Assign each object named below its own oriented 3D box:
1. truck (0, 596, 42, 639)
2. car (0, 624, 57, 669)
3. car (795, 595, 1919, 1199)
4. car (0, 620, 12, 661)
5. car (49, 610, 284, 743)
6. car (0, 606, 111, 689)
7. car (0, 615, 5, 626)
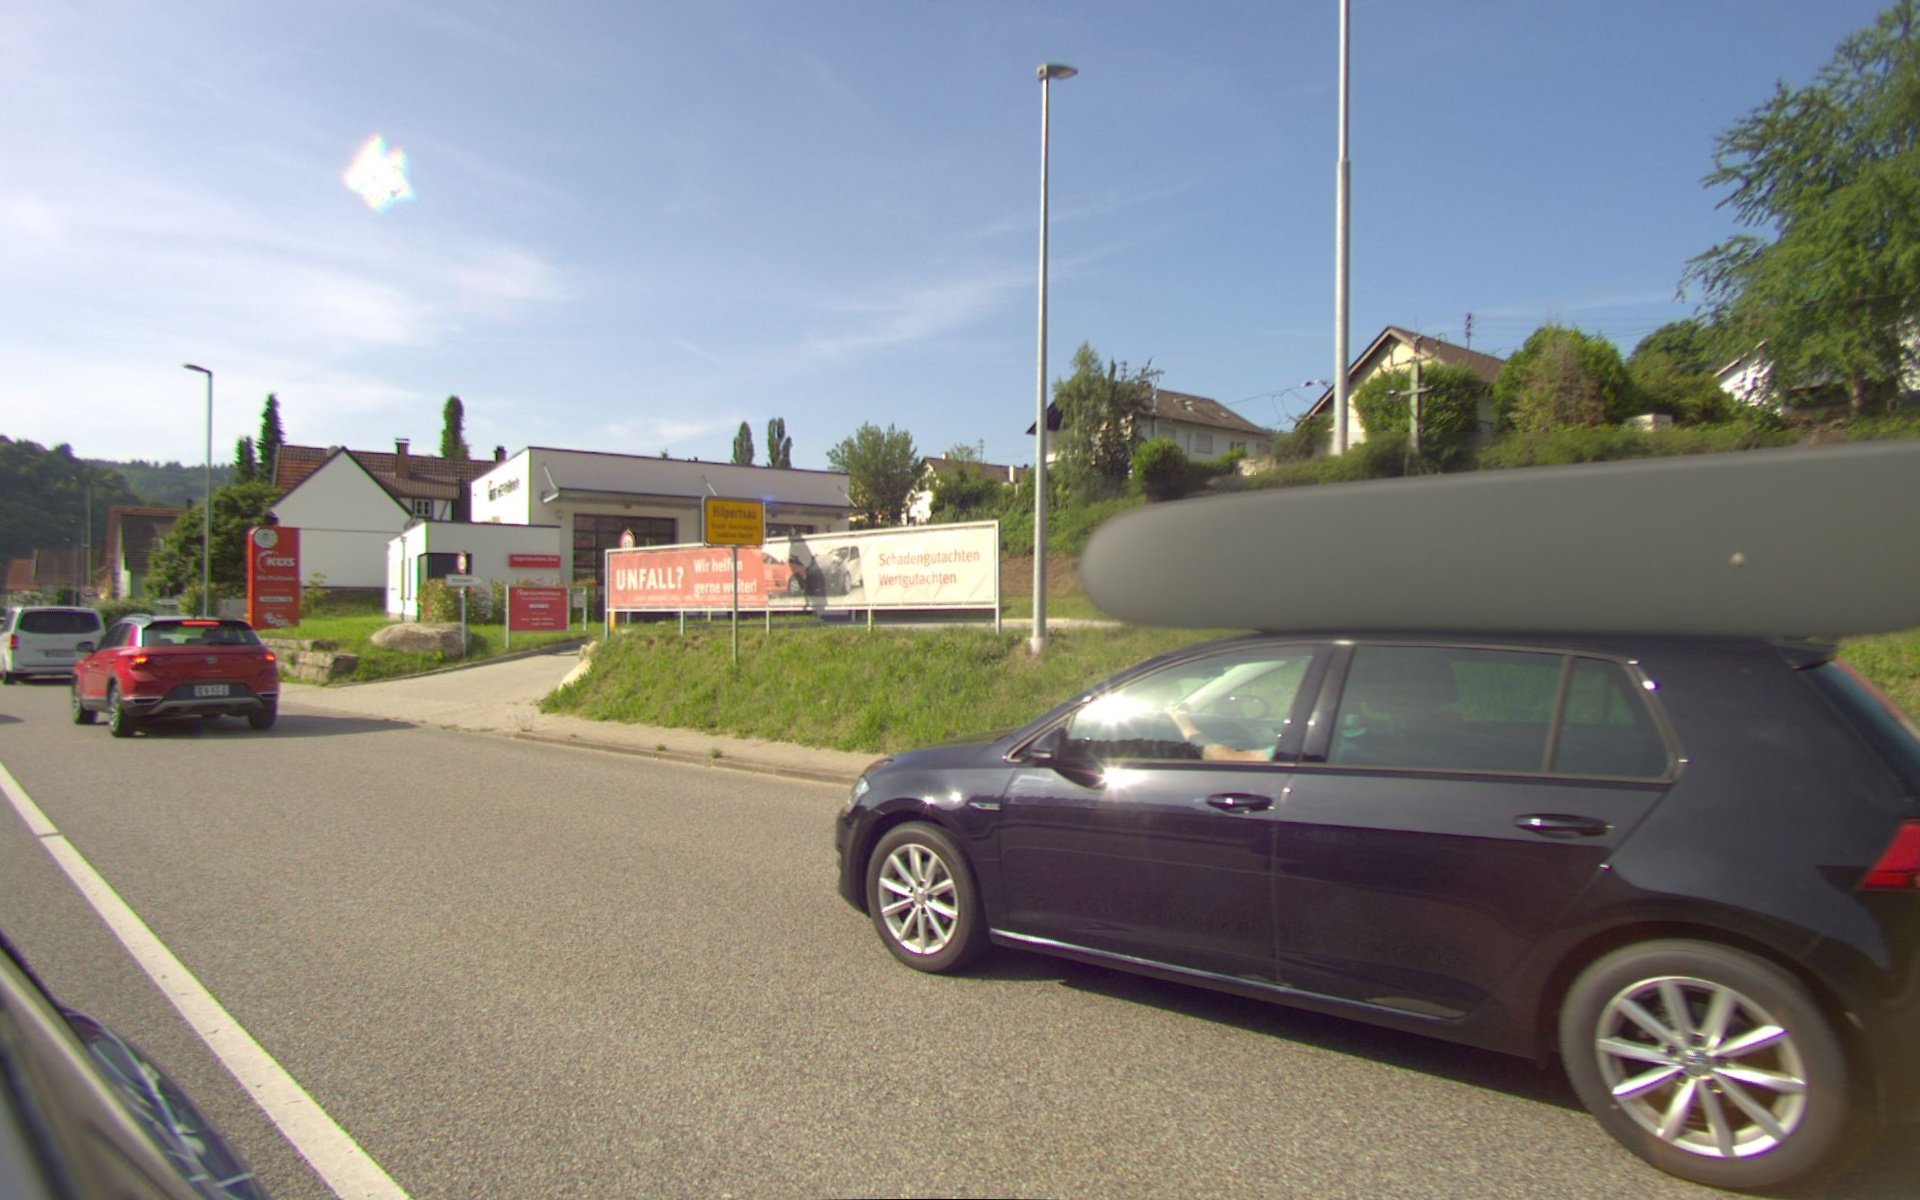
[{"bbox_3d":[-89.792,1.668,96.720,2.548,3.961,11.313,1,-1,-44],"label":"truck"},{"bbox_3d":[-31.544,1.542,33.748,4.233,1.409,1.754,-2,-3,43],"label":"car"},{"bbox_3d":[1.499,0.722,3.802,4.265,1.418,1.758,-1,-1,38],"label":"car"},{"bbox_3d":[-40.537,1.700,41.844,4.464,1.630,1.777,-2,0,45],"label":"car"},{"bbox_3d":[-11.183,0.978,14.171,4.154,1.596,1.689,-1,-2,39],"label":"car"},{"bbox_3d":[-23.197,1.158,25.556,5.293,1.902,1.876,-2,-2,41],"label":"car"},{"bbox_3d":[-134.521,2.880,140.761,1.608,1.496,4.011,-2,2,-32],"label":"car"}]
